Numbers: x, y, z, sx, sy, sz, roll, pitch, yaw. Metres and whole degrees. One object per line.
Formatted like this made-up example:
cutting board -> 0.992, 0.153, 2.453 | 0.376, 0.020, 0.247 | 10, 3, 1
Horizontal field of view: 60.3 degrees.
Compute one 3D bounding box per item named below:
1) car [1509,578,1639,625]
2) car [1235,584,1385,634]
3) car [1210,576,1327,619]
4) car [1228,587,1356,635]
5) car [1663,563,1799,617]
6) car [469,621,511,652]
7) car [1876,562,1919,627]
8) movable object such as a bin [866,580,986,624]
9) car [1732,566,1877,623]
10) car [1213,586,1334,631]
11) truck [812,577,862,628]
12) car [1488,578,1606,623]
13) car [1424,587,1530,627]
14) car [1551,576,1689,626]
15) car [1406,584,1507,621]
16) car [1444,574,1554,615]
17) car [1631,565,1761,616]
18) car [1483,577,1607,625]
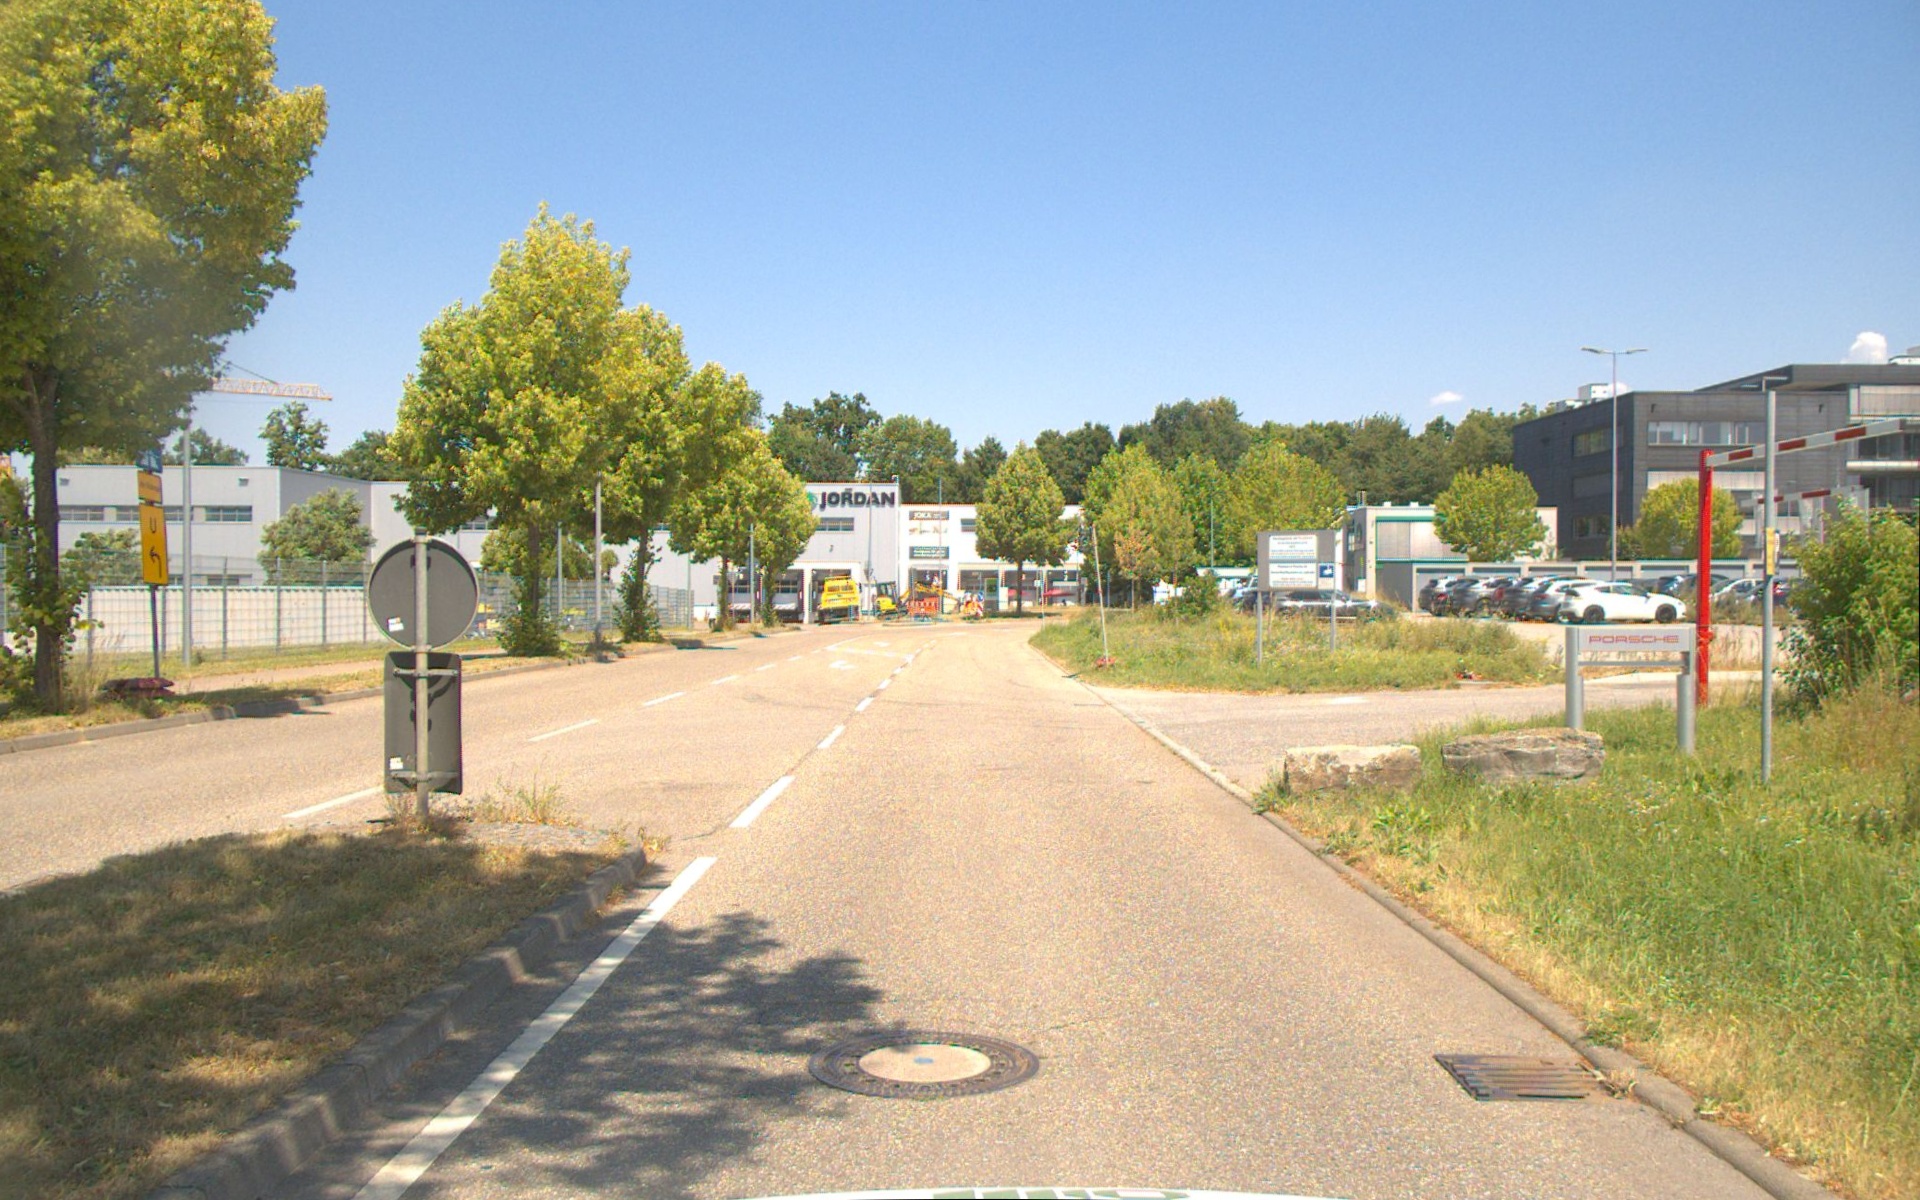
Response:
car -> 21.551, 0.042, 58.090 | 3.908, 1.424, 1.768 | -2, 3, -4
car -> 11.629, 0.287, 55.166 | 4.606, 1.424, 1.923 | -2, 3, 2
car -> 11.769, -0.114, 63.247 | 4.080, 1.424, 1.768 | -2, 3, -4
car -> 11.580, 0.383, 57.869 | 4.080, 1.424, 1.768 | -2, 3, -4
car -> 26.506, -0.363, 56.924 | 3.908, 1.623, 1.768 | -2, 3, -4
car -> -30.537, 2.367, 107.602 | 1.955, 1.578, 3.996 | -2, 4, -7
car -> 27.438, -0.208, 45.183 | 3.908, 1.623, 1.768 | -2, 3, -4
movable object such as a bin -> -2.195, 0.121, 109.627 | 7.365, 2.542, 3.670 | -1, 3, 8
car -> 27.586, -0.204, 54.091 | 3.908, 1.623, 1.768 | -2, 3, -4
car -> 11.564, 0.291, 61.153 | 4.080, 1.424, 1.768 | -2, 3, -4
truck -> -8.221, 0.147, 109.979 | 2.884, 2.935, 5.800 | -2, 3, -8
car -> 22.481, -0.009, 63.433 | 3.908, 1.486, 1.768 | -2, 3, -4
car -> 21.903, 0.276, 70.115 | 3.908, 1.424, 1.768 | -2, 3, -4
car -> 21.986, 0.025, 55.209 | 3.907, 1.424, 1.769 | -2, 3, -2
car -> 22.024, 0.107, 73.400 | 3.908, 1.424, 1.768 | -2, 3, -4
car -> 22.027, -0.230, 67.608 | 3.908, 1.424, 1.768 | -2, 3, -4
car -> 26.540, -0.358, 59.695 | 3.908, 1.623, 1.768 | -2, 3, -4
car -> 21.296, 0.023, 60.293 | 3.908, 1.516, 1.768 | -2, 3, -4
